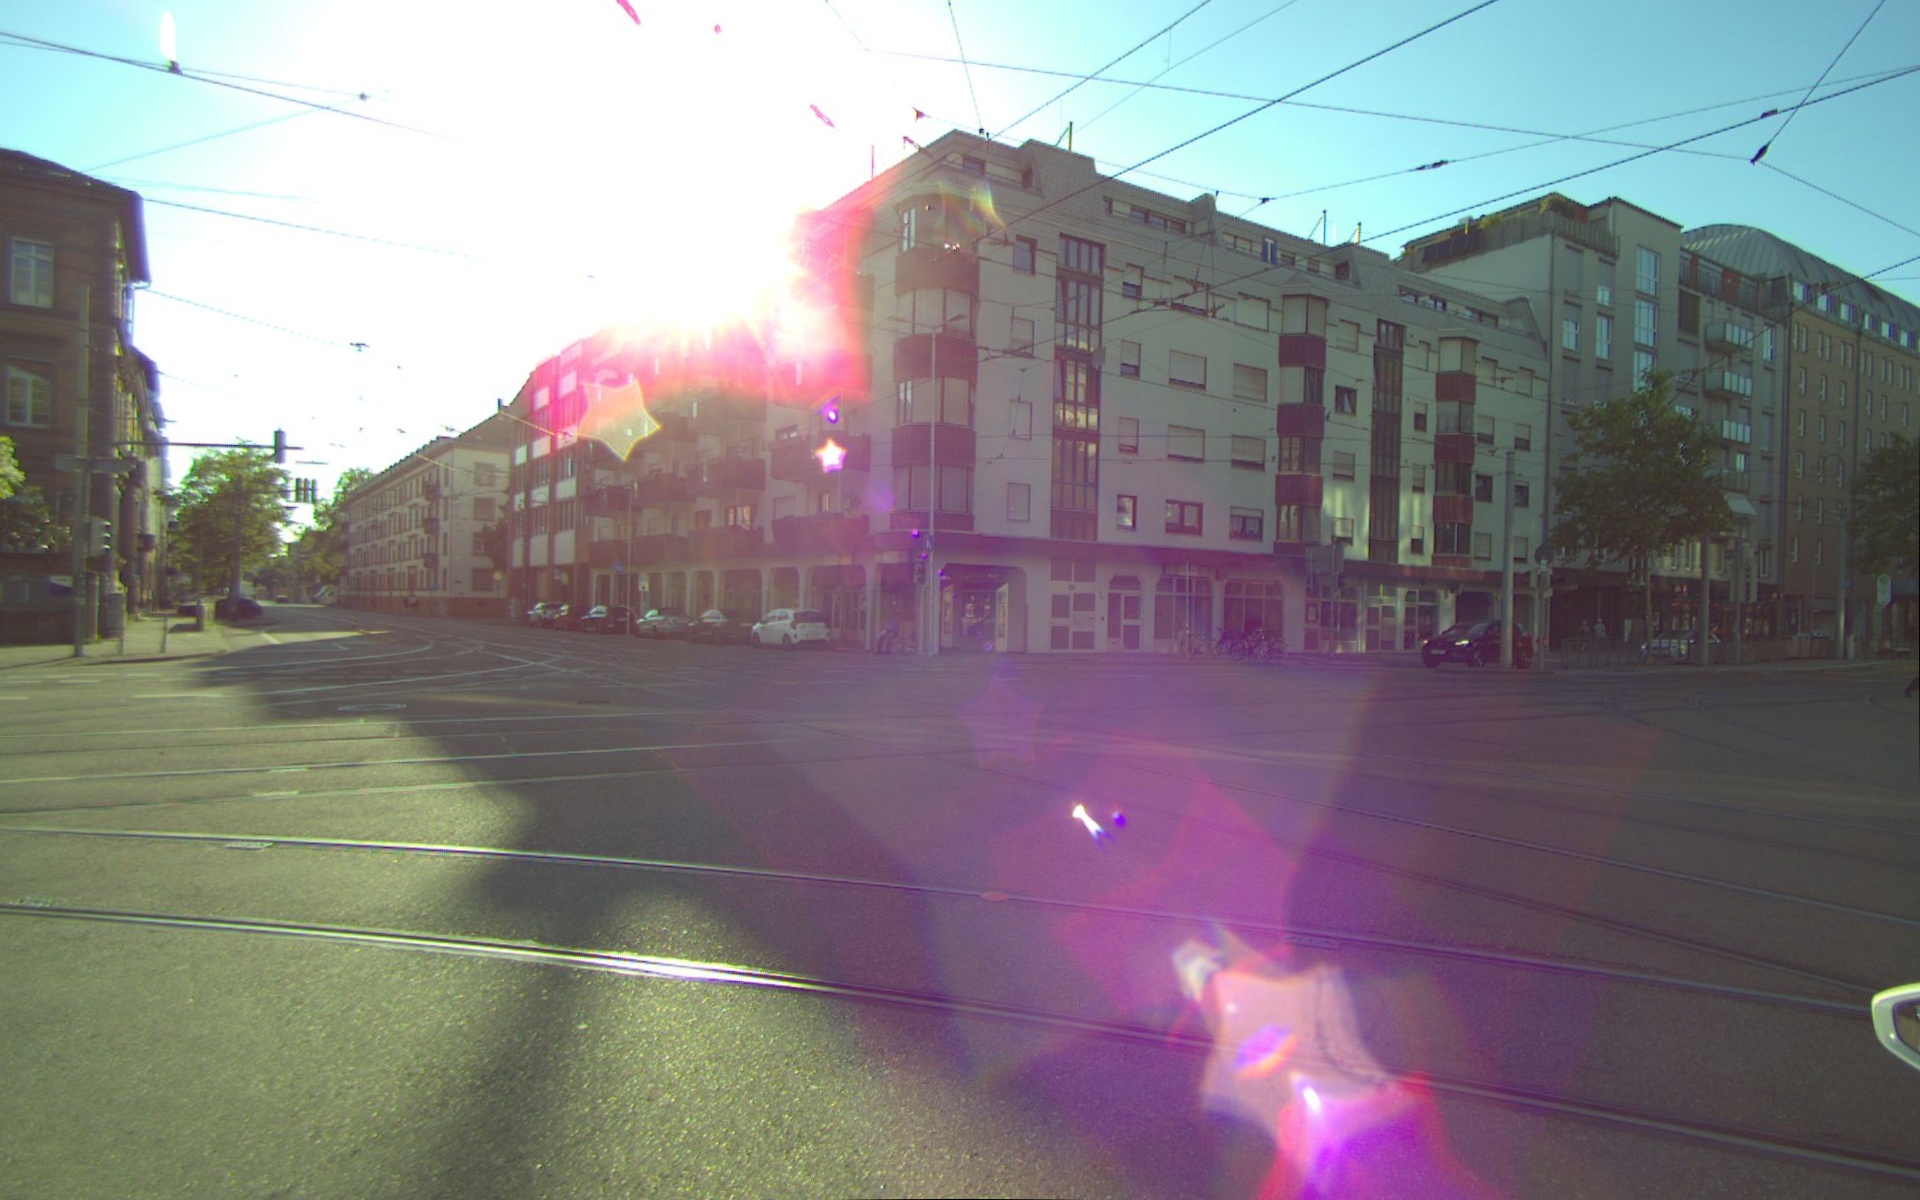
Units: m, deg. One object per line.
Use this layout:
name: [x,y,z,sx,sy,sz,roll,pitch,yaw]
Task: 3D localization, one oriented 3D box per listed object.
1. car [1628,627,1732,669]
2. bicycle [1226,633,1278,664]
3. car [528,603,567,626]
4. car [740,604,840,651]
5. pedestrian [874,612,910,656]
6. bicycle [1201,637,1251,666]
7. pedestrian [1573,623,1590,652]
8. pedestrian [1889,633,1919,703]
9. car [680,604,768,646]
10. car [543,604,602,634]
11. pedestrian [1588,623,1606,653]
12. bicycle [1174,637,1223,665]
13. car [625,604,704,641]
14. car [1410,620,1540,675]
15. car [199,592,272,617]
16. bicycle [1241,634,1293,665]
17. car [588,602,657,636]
car: [29.397,1.944,41.003,4.211,1.616,1.945,2,0,-31]
bicycle: [10.122,1.676,34.856,0.547,0.998,1.833,2,-1,-31]
car: [-25.282,0.875,61.534,1.447,1.351,3.149,2,-1,-37]
car: [-6.288,0.978,36.830,1.982,1.576,3.957,2,-1,-38]
pedestrian: [-2.250,1.129,33.426,0.830,1.402,0.849,2,-1,-40]
bicycle: [9.049,1.742,34.191,0.546,0.865,1.836,2,-1,-27]
pedestrian: [32.065,1.939,51.861,0.581,1.514,0.531,2,0,-33]
pedestrian: [22.189,1.571,23.122,0.687,1.565,1.040,2,0,-33]
car: [-9.686,1.014,40.982,1.982,1.576,4.079,2,-1,-38]
car: [-22.317,1.072,57.730,1.982,1.576,4.535,2,-1,-37]
pedestrian: [32.632,1.967,51.459,0.581,1.514,0.531,2,0,-33]
bicycle: [8.143,1.733,34.349,0.546,0.865,1.836,2,-1,-27]
car: [-13.563,0.992,45.922,1.982,1.576,4.535,2,-1,-37]
car: [17.298,1.575,33.721,4.211,1.695,1.945,2,0,-31]
car: [-50.036,0.345,69.409,3.967,1.595,1.977,2,-1,-39]
bicycle: [10.696,1.713,35.058,0.547,0.998,1.833,2,-1,-31]
car: [-17.296,0.949,51.304,1.982,1.576,4.535,2,-1,-37]
